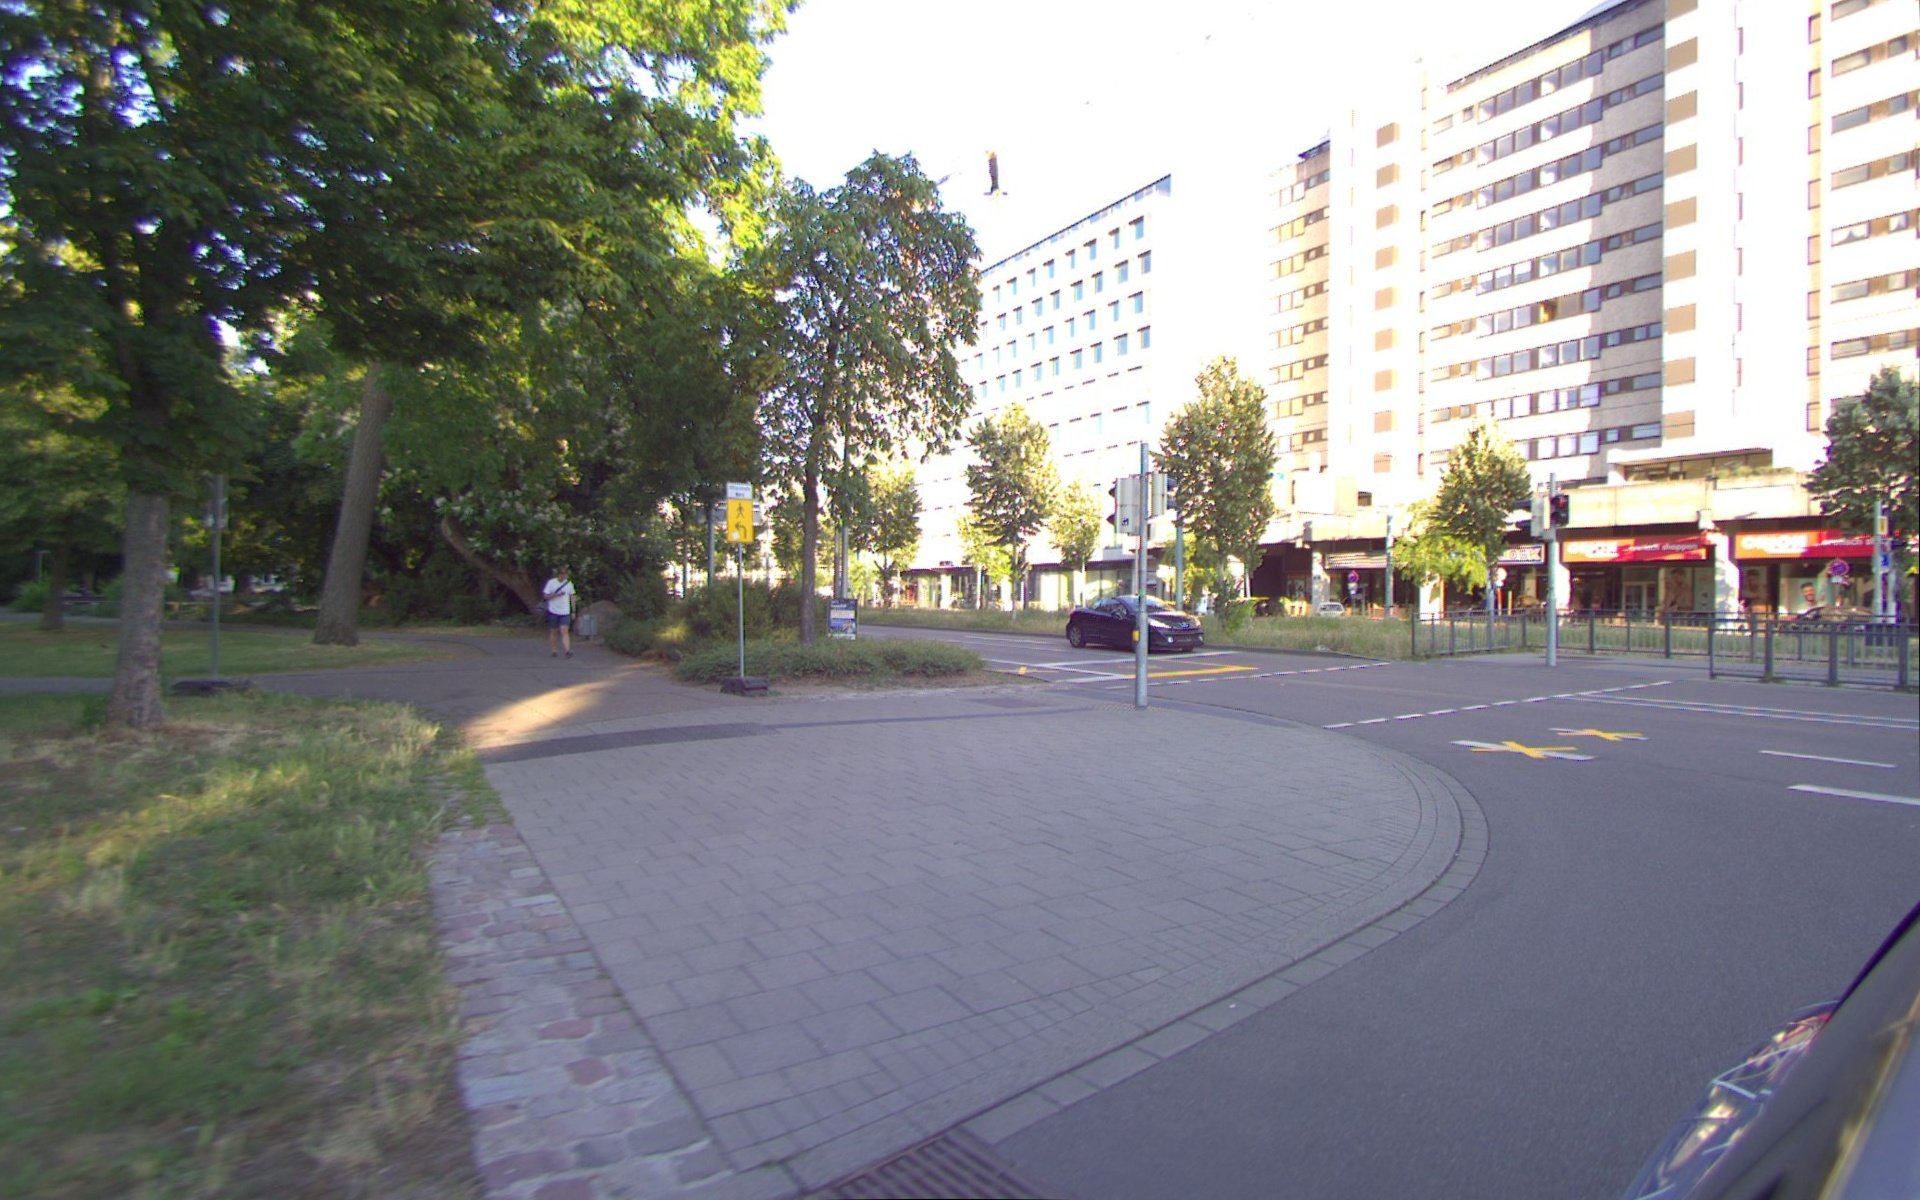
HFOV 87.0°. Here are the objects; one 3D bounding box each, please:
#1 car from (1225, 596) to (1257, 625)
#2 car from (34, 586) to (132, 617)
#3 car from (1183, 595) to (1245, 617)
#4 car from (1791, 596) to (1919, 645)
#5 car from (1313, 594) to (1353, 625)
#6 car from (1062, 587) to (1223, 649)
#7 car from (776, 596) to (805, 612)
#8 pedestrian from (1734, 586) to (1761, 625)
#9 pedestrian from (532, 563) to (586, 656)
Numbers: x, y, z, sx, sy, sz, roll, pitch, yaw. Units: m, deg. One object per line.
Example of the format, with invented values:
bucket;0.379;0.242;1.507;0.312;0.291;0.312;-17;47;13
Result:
car;16.555;0.585;59.572;1.699;1.581;4.309;0;0;16
car;-40.530;0.035;46.805;1.554;1.371;3.191;0;1;36
car;18.293;0.411;72.926;4.242;1.581;1.725;0;0;-27
car;31.104;0.659;35.106;1.934;1.581;4.323;0;0;16
car;19.950;0.454;54.243;1.699;1.581;4.309;0;0;16
car;4.389;0.393;24.861;1.765;1.405;3.912;0;0;-31
car;-18.257;0.416;109.090;1.688;1.581;4.335;0;0;-30
pedestrian;33.169;0.241;42.627;0.644;1.634;0.726;0;0;-36
pedestrian;-7.920;0.177;19.981;0.734;1.777;0.964;0;0;-38
